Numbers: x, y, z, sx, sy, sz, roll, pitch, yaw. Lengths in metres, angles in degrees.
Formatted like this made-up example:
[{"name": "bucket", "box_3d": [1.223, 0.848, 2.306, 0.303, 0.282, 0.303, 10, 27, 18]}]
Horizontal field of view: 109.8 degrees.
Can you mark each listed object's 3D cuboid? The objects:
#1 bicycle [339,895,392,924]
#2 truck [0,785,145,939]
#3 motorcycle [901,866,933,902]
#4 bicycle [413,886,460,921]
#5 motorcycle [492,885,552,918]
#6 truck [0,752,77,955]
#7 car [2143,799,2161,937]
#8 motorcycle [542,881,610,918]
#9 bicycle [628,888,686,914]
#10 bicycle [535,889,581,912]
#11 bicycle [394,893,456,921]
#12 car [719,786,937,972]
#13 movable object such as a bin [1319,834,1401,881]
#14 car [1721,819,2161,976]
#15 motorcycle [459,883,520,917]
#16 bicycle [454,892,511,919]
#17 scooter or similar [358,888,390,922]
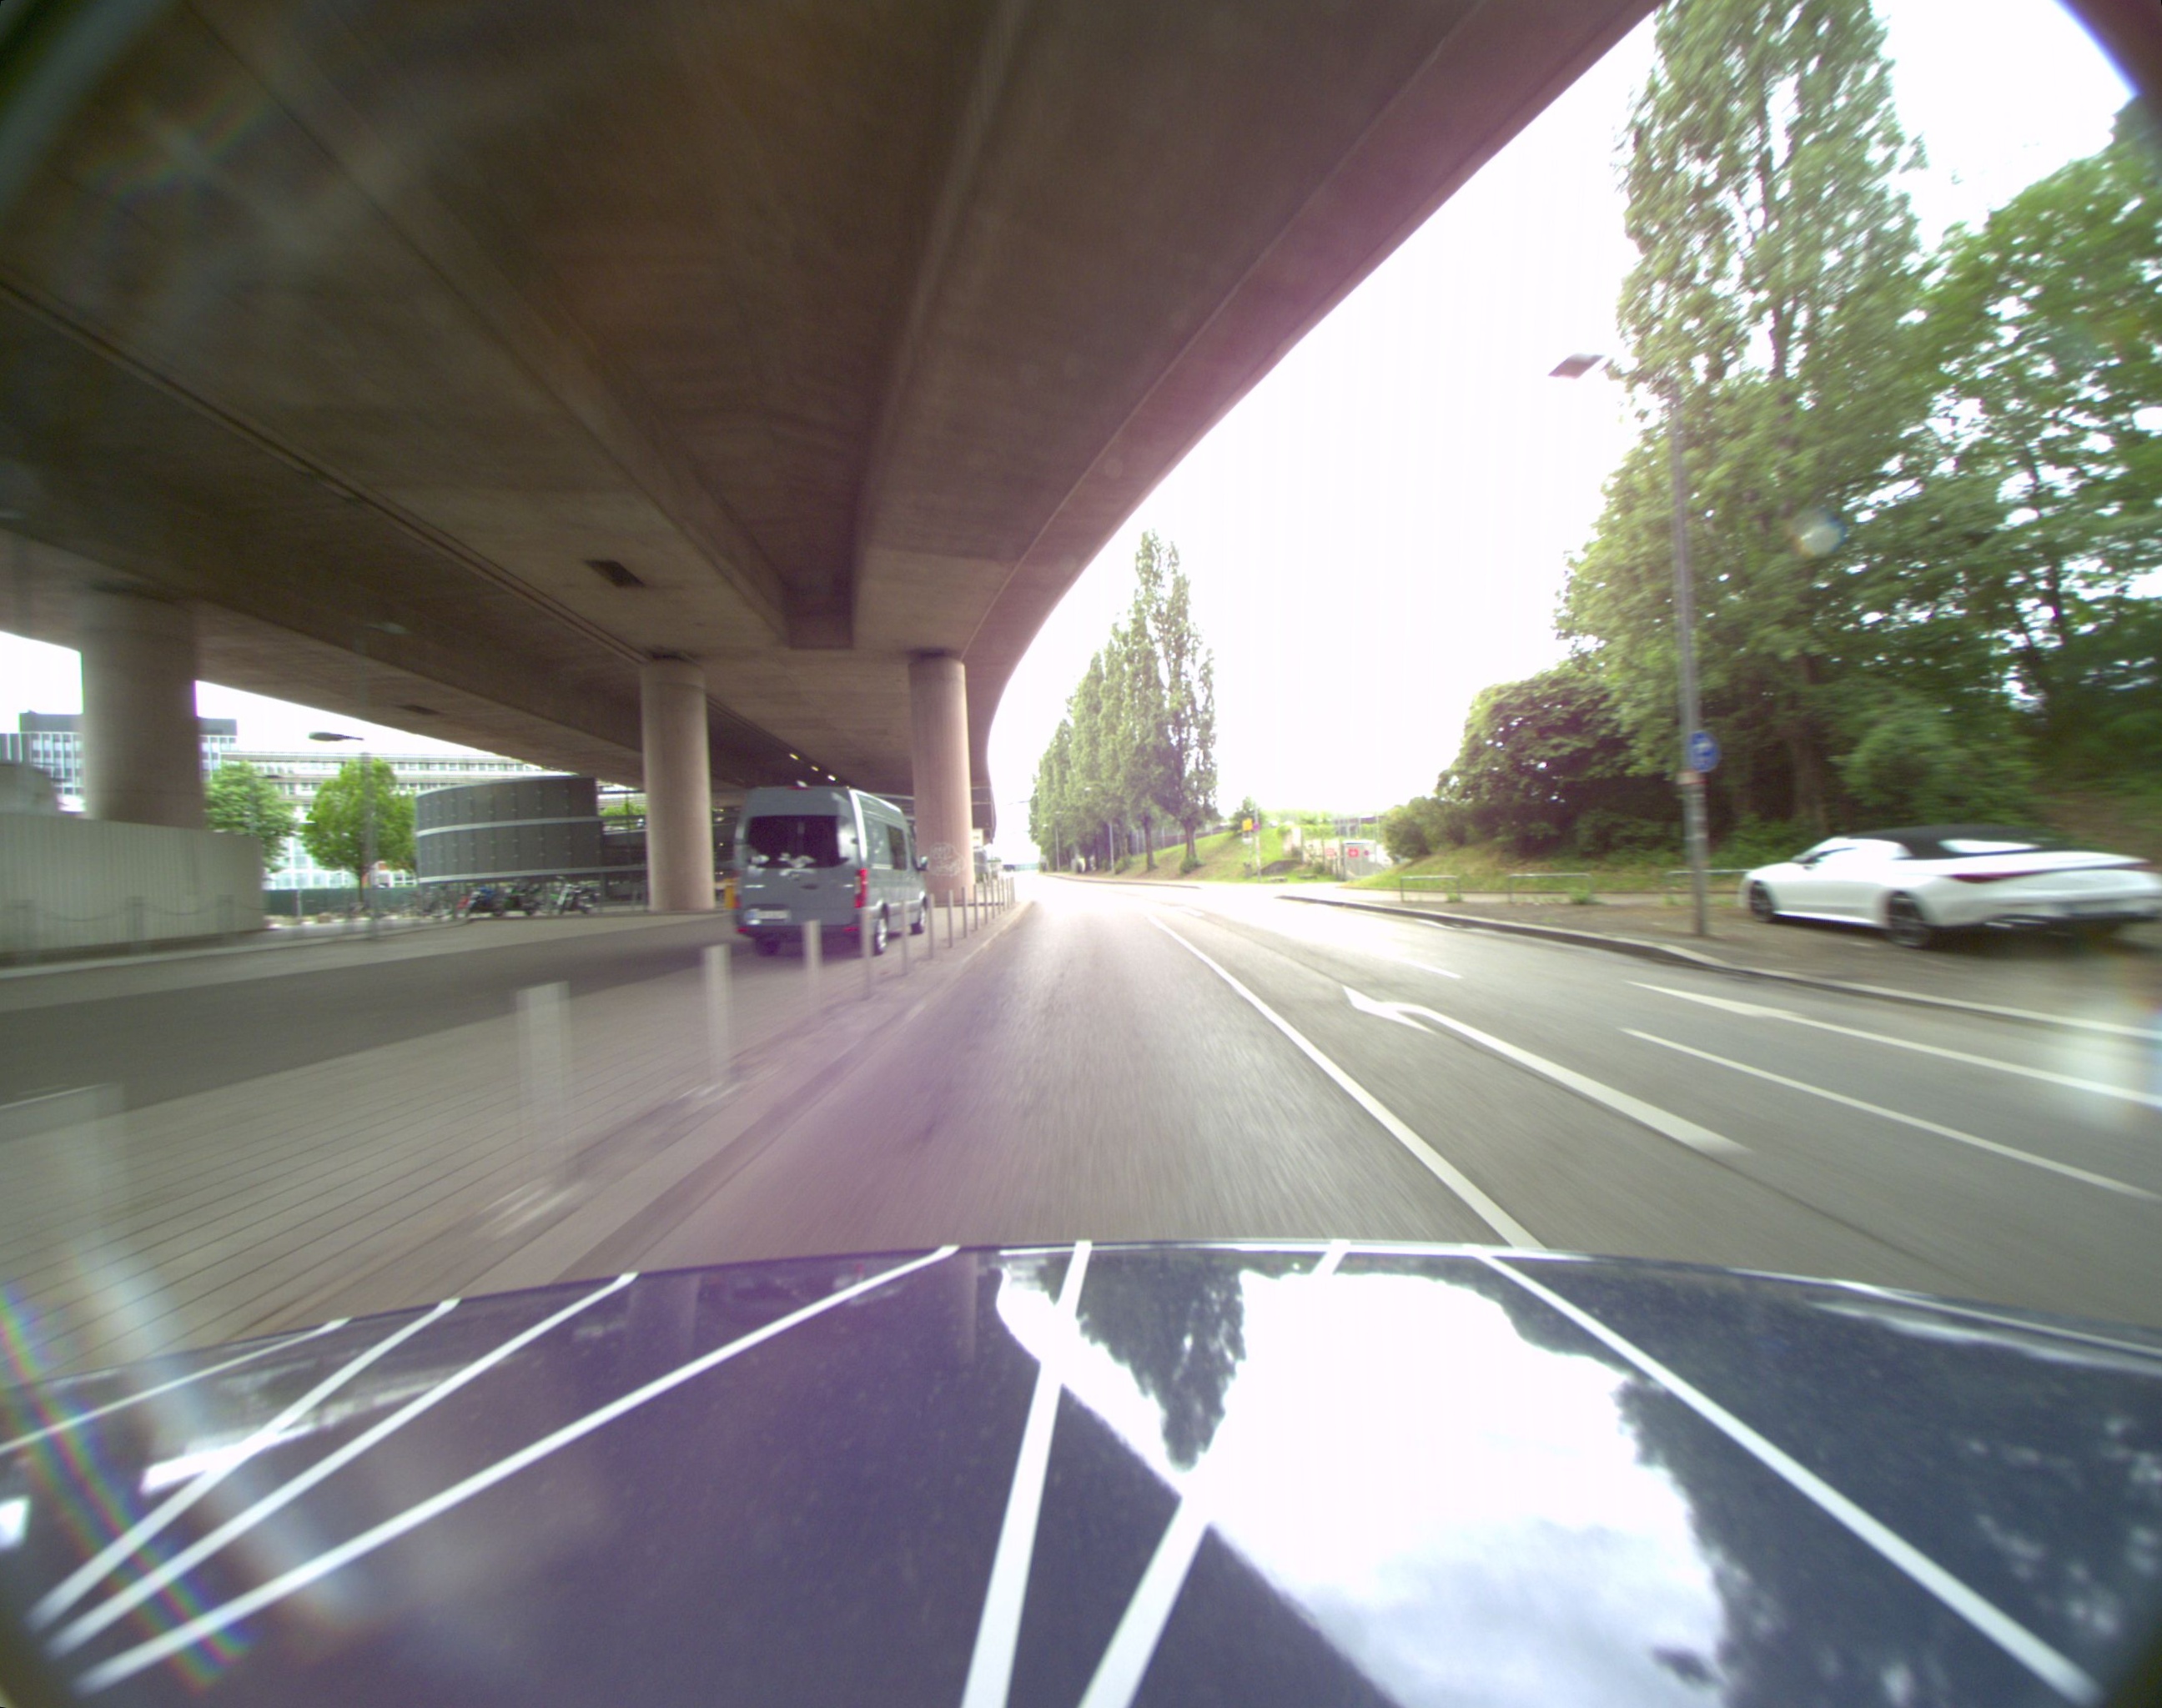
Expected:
[{"name": "bicycle", "box_3d": [-28.195, 2.183, 29.961, 1.733, 1.017, 0.437, -3, -1, 4]}, {"name": "truck", "box_3d": [-31.320, 0.252, 19.576, 2.903, 4.134, 8.787, -1, 0, 34]}, {"name": "motorcycle", "box_3d": [-6.401, 1.152, 29.541, 0.799, 1.358, 2.126, -1, -1, -23]}, {"name": "bicycle", "box_3d": [-22.829, 1.766, 26.900, 2.324, 1.098, 0.622, -5, -5, 33]}, {"name": "motorcycle", "box_3d": [-19.393, 1.677, 26.437, 0.544, 1.098, 2.330, -2, -4, -5]}, {"name": "truck", "box_3d": [-26.469, 0.035, 13.511, 3.004, 4.278, 10.319, -1, 0, 36]}, {"name": "car", "box_3d": [12.736, 0.126, 6.403, 1.997, 1.573, 4.404, -7, 0, 15]}, {"name": "motorcycle", "box_3d": [-17.624, 1.581, 26.606, 0.784, 1.227, 2.537, -1, -2, -2]}, {"name": "bicycle", "box_3d": [-17.327, 1.910, 31.077, 2.020, 0.920, 0.419, -2, -1, -15]}, {"name": "bicycle", "box_3d": [-26.265, 2.322, 38.178, 1.789, 1.072, 0.436, -2, -1, -16]}, {"name": "bicycle", "box_3d": [-25.721, 2.071, 29.808, 2.061, 1.017, 0.396, -3, -1, -1]}, {"name": "car", "box_3d": [-4.162, 0.393, 13.839, 1.999, 2.597, 6.074, -1, -1, -1]}, {"name": "movable object such as a bin", "box_3d": [16.935, 0.219, 46.261, 2.032, 2.706, 4.219, -1, 0, -45]}, {"name": "car", "box_3d": [11.226, 0.387, 10.240, 1.997, 1.471, 4.832, -6, 1, 15]}, {"name": "motorcycle", "box_3d": [-20.520, 1.621, 26.409, 0.573, 1.098, 2.330, -2, -4, -8]}, {"name": "bicycle", "box_3d": [-23.578, 2.032, 29.952, 1.735, 0.976, 0.437, -2, -1, -8]}, {"name": "scooter or similar", "box_3d": [-26.470, 1.923, 28.458, 1.676, 1.210, 0.545, -6, -5, 36]}]
